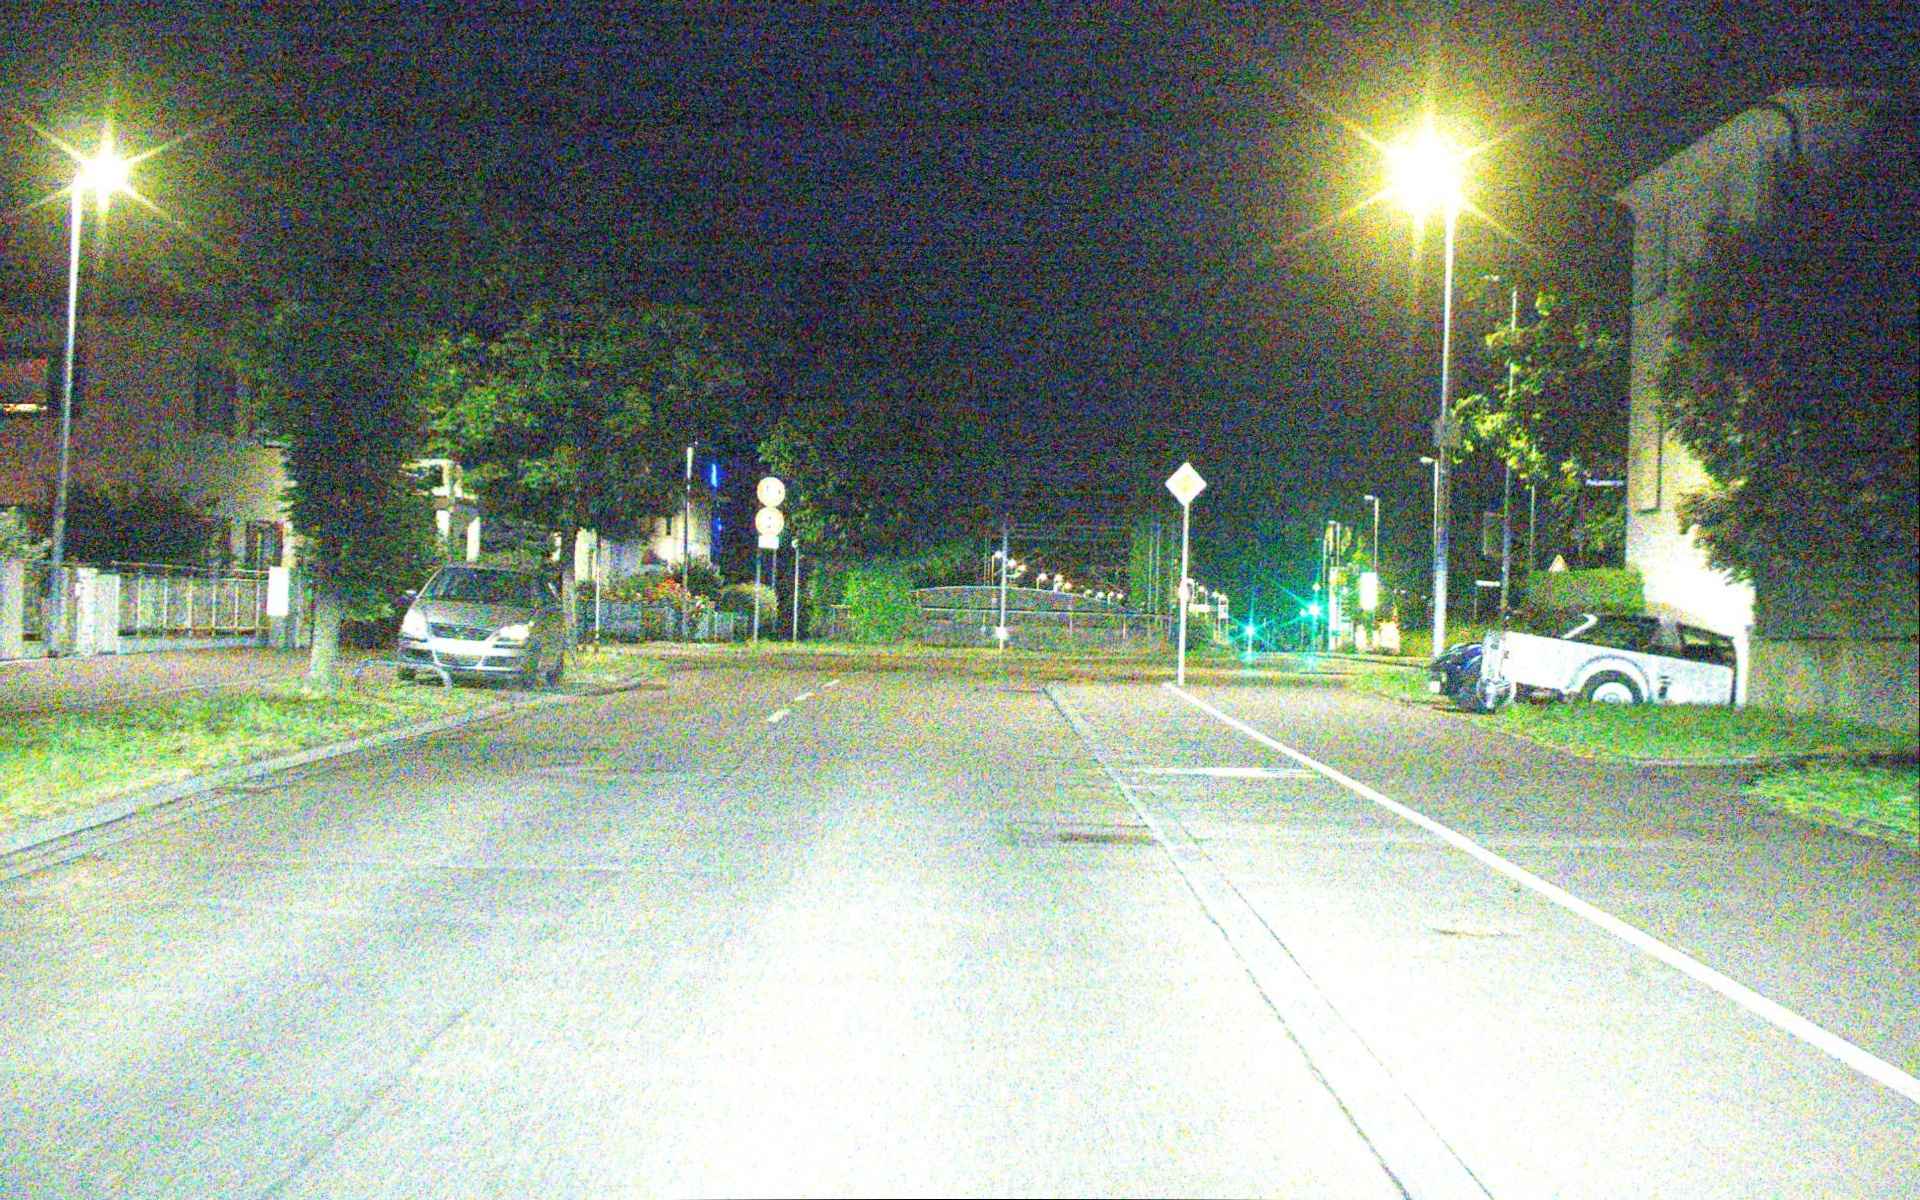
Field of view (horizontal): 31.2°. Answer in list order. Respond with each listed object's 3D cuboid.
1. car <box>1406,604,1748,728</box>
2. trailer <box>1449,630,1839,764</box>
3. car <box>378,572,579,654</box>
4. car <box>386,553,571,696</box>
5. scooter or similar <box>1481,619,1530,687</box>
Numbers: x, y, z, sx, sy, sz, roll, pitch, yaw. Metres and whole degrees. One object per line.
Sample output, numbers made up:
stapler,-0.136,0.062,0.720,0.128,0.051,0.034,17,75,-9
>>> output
car,6.739,0.715,37.796,3.391,1.228,1.724,1,1,-1
trailer,6.763,0.944,34.264,3.432,0.999,1.954,5,0,0
car,-10.046,0.275,71.772,3.716,1.621,1.781,1,-1,19
car,-5.806,0.269,41.810,1.672,1.585,3.987,2,0,-1
scooter or similar,10.714,1.038,67.531,0.611,1.277,1.690,2,0,-2
